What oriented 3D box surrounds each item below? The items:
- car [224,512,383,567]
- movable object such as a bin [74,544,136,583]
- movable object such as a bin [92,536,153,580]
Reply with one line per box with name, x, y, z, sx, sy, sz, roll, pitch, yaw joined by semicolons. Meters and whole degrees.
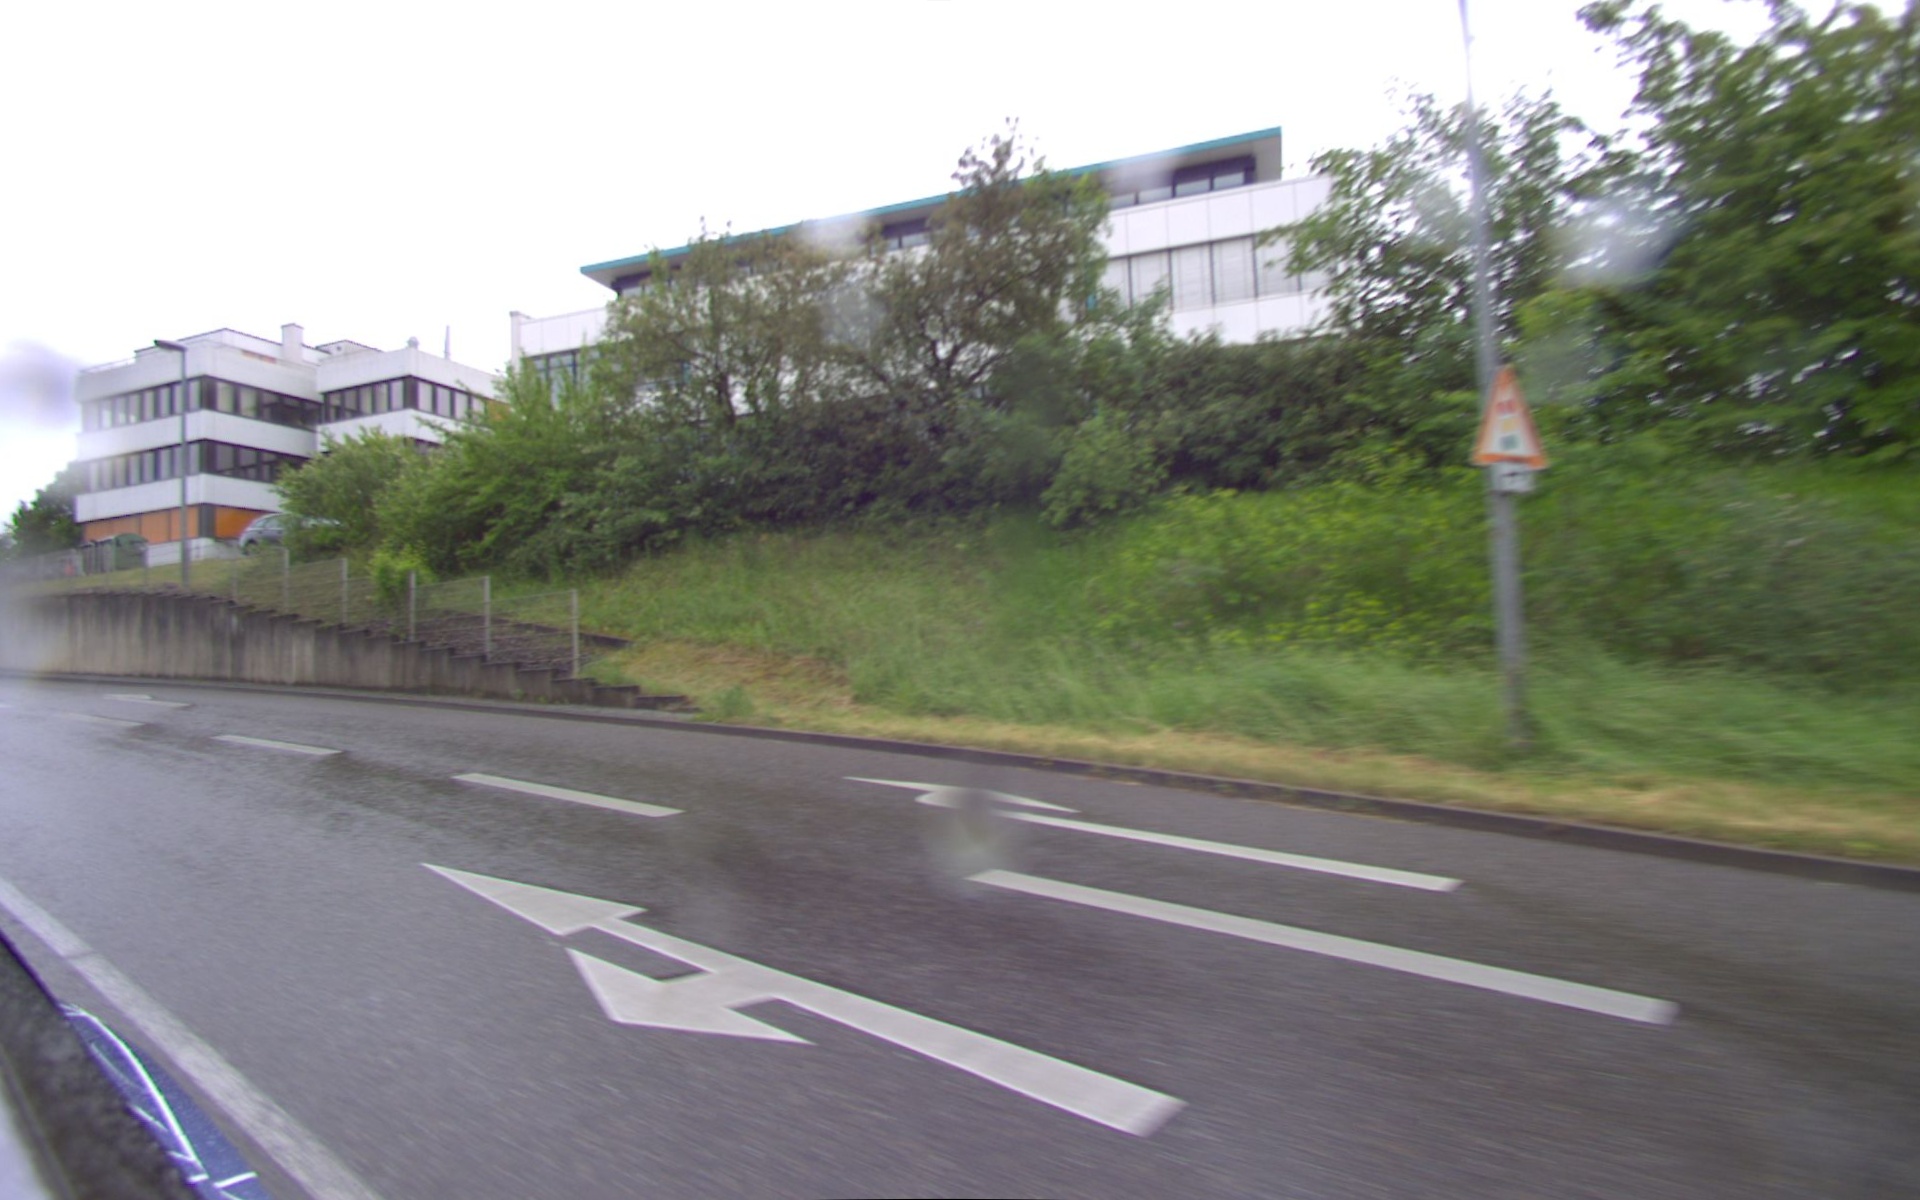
car;-19.347;-1.733;29.804;4.509;1.353;1.902;0;-1;26
movable object such as a bin;-29.390;-1.227;34.790;1.337;1.221;1.232;-1;-2;30
movable object such as a bin;-28.208;-1.397;34.112;1.213;1.357;1.232;-1;-2;30
